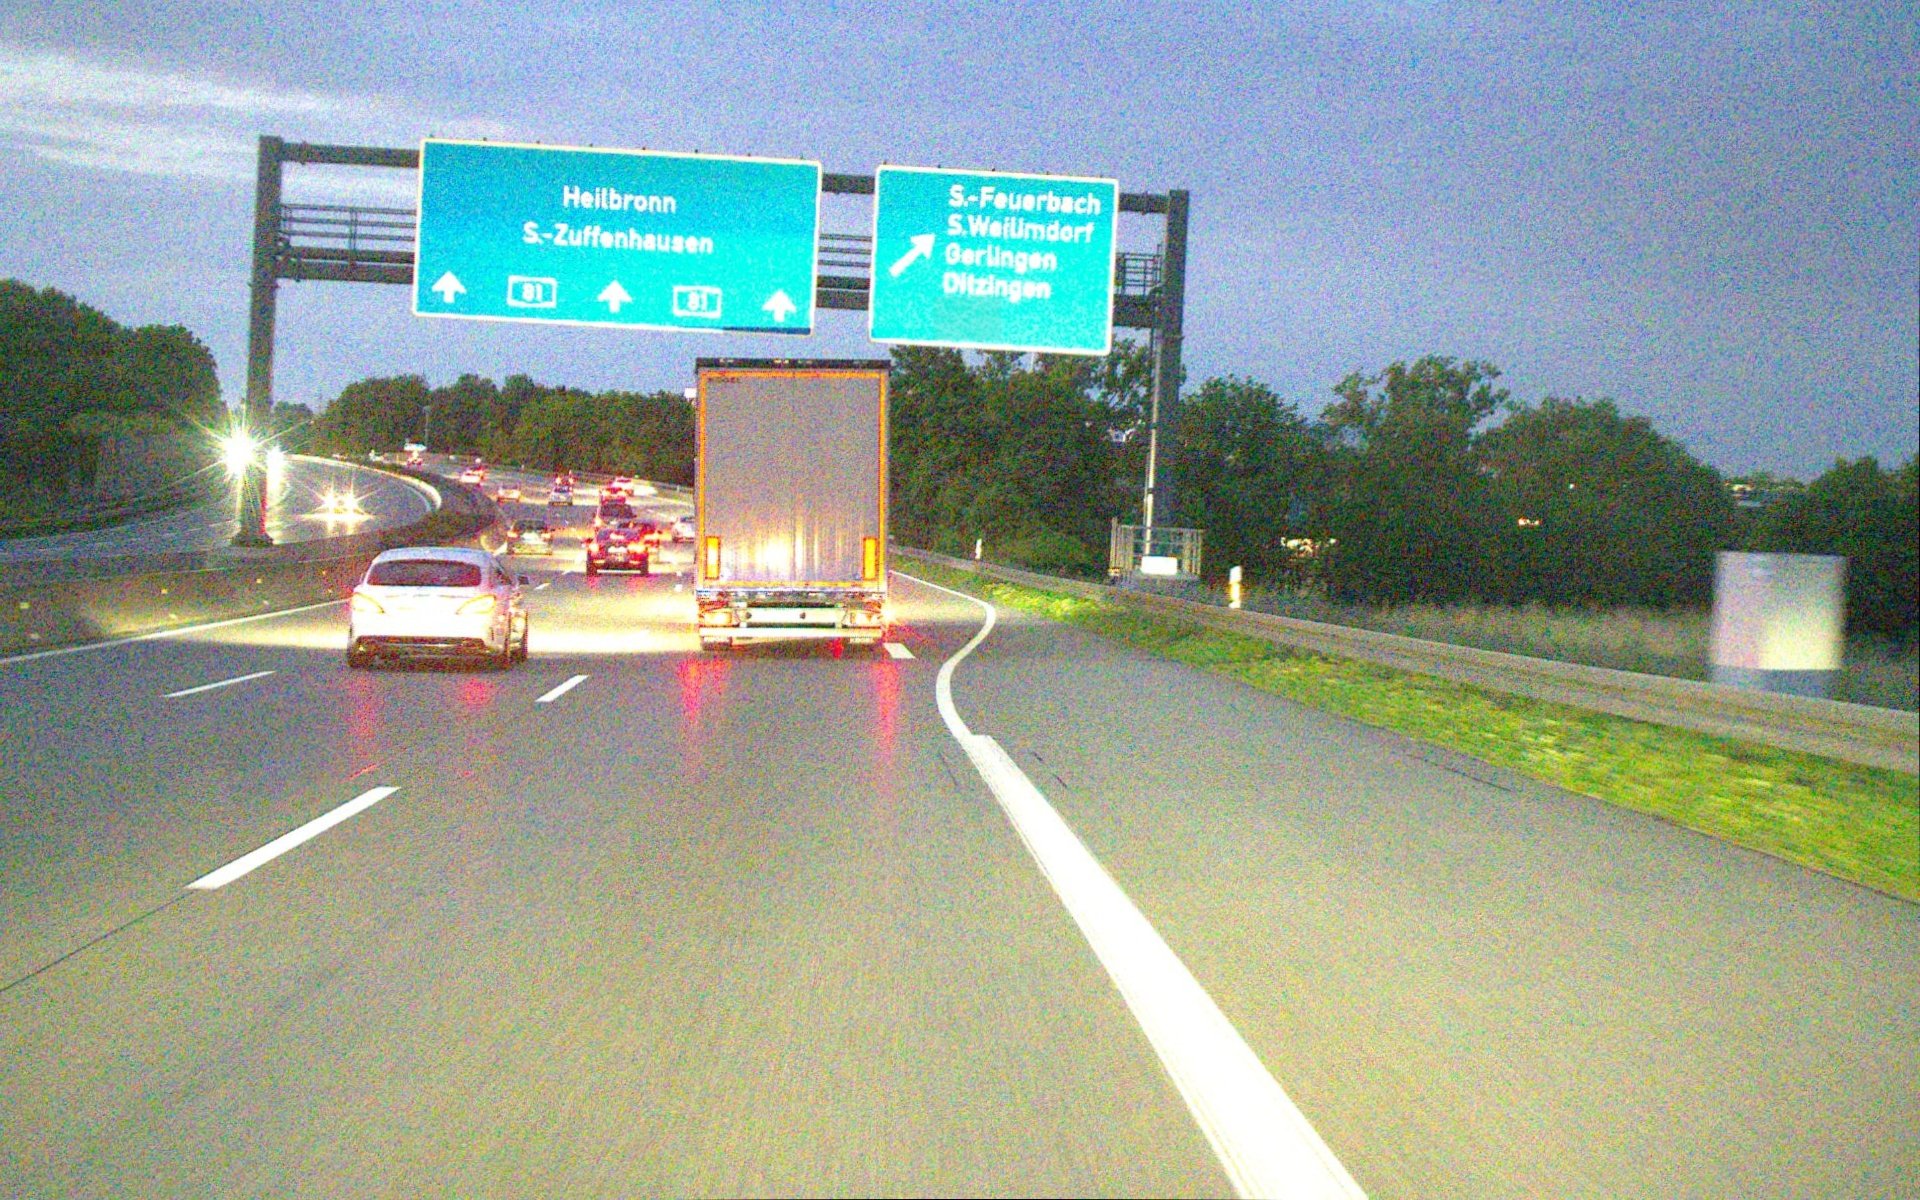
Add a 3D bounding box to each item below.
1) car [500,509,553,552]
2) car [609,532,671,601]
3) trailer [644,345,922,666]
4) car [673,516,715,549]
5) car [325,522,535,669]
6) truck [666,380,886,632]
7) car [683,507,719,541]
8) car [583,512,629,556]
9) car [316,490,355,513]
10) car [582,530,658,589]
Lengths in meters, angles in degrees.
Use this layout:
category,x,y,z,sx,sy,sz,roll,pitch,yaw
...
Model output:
category,x,y,z,sx,sy,sz,roll,pitch,yaw
car,-17.528,-2.791,139.151,1.761,1.569,4.577,2,0,-3
car,-11.502,-1.198,123.363,1.993,2.372,4.001,2,0,-8
trailer,-2.730,-1.411,51.843,3.550,4.102,15.066,0,1,-3
car,-13.435,-3.414,173.867,1.993,1.529,4.000,2,0,-3
car,-6.315,-0.038,41.456,1.906,1.609,4.804,2,0,-2
truck,-3.181,-1.606,59.070,3.550,4.077,6.152,0,1,-3
car,-15.827,-4.640,210.278,1.993,1.971,4.000,2,0,-3
car,-17.486,-3.259,169.891,1.993,2.007,4.000,2,0,-2
car,-40.933,-6.420,225.349,1.993,1.414,4.152,2,1,-4
car,-10.361,-1.208,104.929,2.065,1.680,4.577,2,0,-3
